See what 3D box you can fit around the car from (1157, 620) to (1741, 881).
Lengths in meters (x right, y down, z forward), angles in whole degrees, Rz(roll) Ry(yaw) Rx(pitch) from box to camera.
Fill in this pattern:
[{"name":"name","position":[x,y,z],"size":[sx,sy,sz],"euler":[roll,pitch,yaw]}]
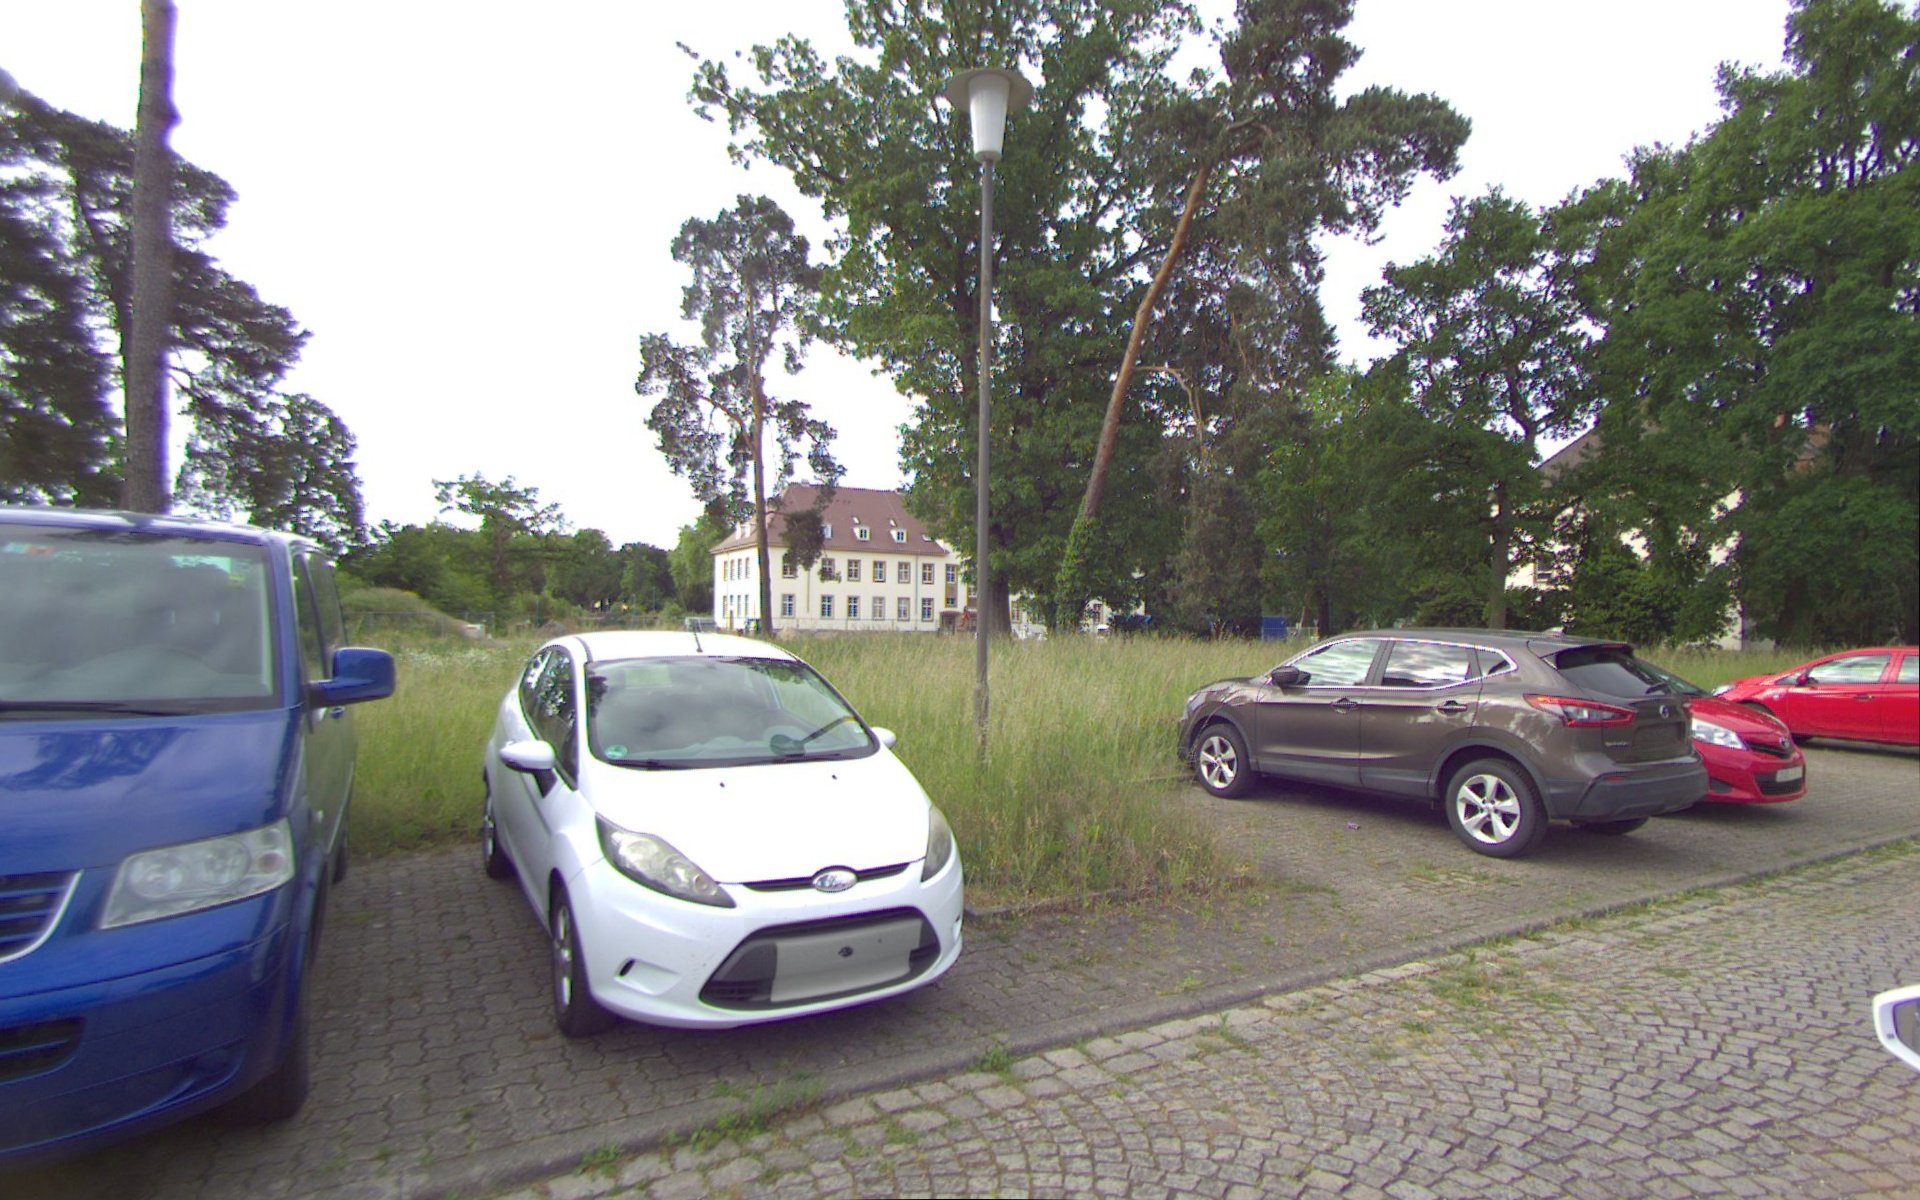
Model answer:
[{"name":"car","position":[3.860,1.012,8.660],"size":[1.965,1.643,4.144],"euler":[2,-2,-32]}]

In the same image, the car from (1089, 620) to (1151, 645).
[{"name":"car","position":[13.924,2.867,87.420],"size":[5.164,2.040,1.986],"euler":[2,-2,-27]}]

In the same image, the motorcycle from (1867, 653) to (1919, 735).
[{"name":"motorcycle","position":[16.363,1.587,16.342],"size":[0.710,1.309,2.265],"euler":[2,0,-28]}]

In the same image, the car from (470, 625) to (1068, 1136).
[{"name":"car","position":[-1.393,0.921,5.312],"size":[1.761,1.530,4.144],"euler":[2,-2,-31]}]

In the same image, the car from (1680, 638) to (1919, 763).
[{"name":"car","position":[12.670,1.345,13.892],"size":[1.883,1.545,4.035],"euler":[2,-2,-31]}]

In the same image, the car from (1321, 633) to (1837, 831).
[{"name":"car","position":[6.032,1.141,10.323],"size":[1.885,1.530,4.146],"euler":[2,-2,-30]}]

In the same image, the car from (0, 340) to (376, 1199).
[{"name":"car","position":[-3.619,0.533,4.069],"size":[2.090,2.150,4.759],"euler":[2,-2,-30]}]
